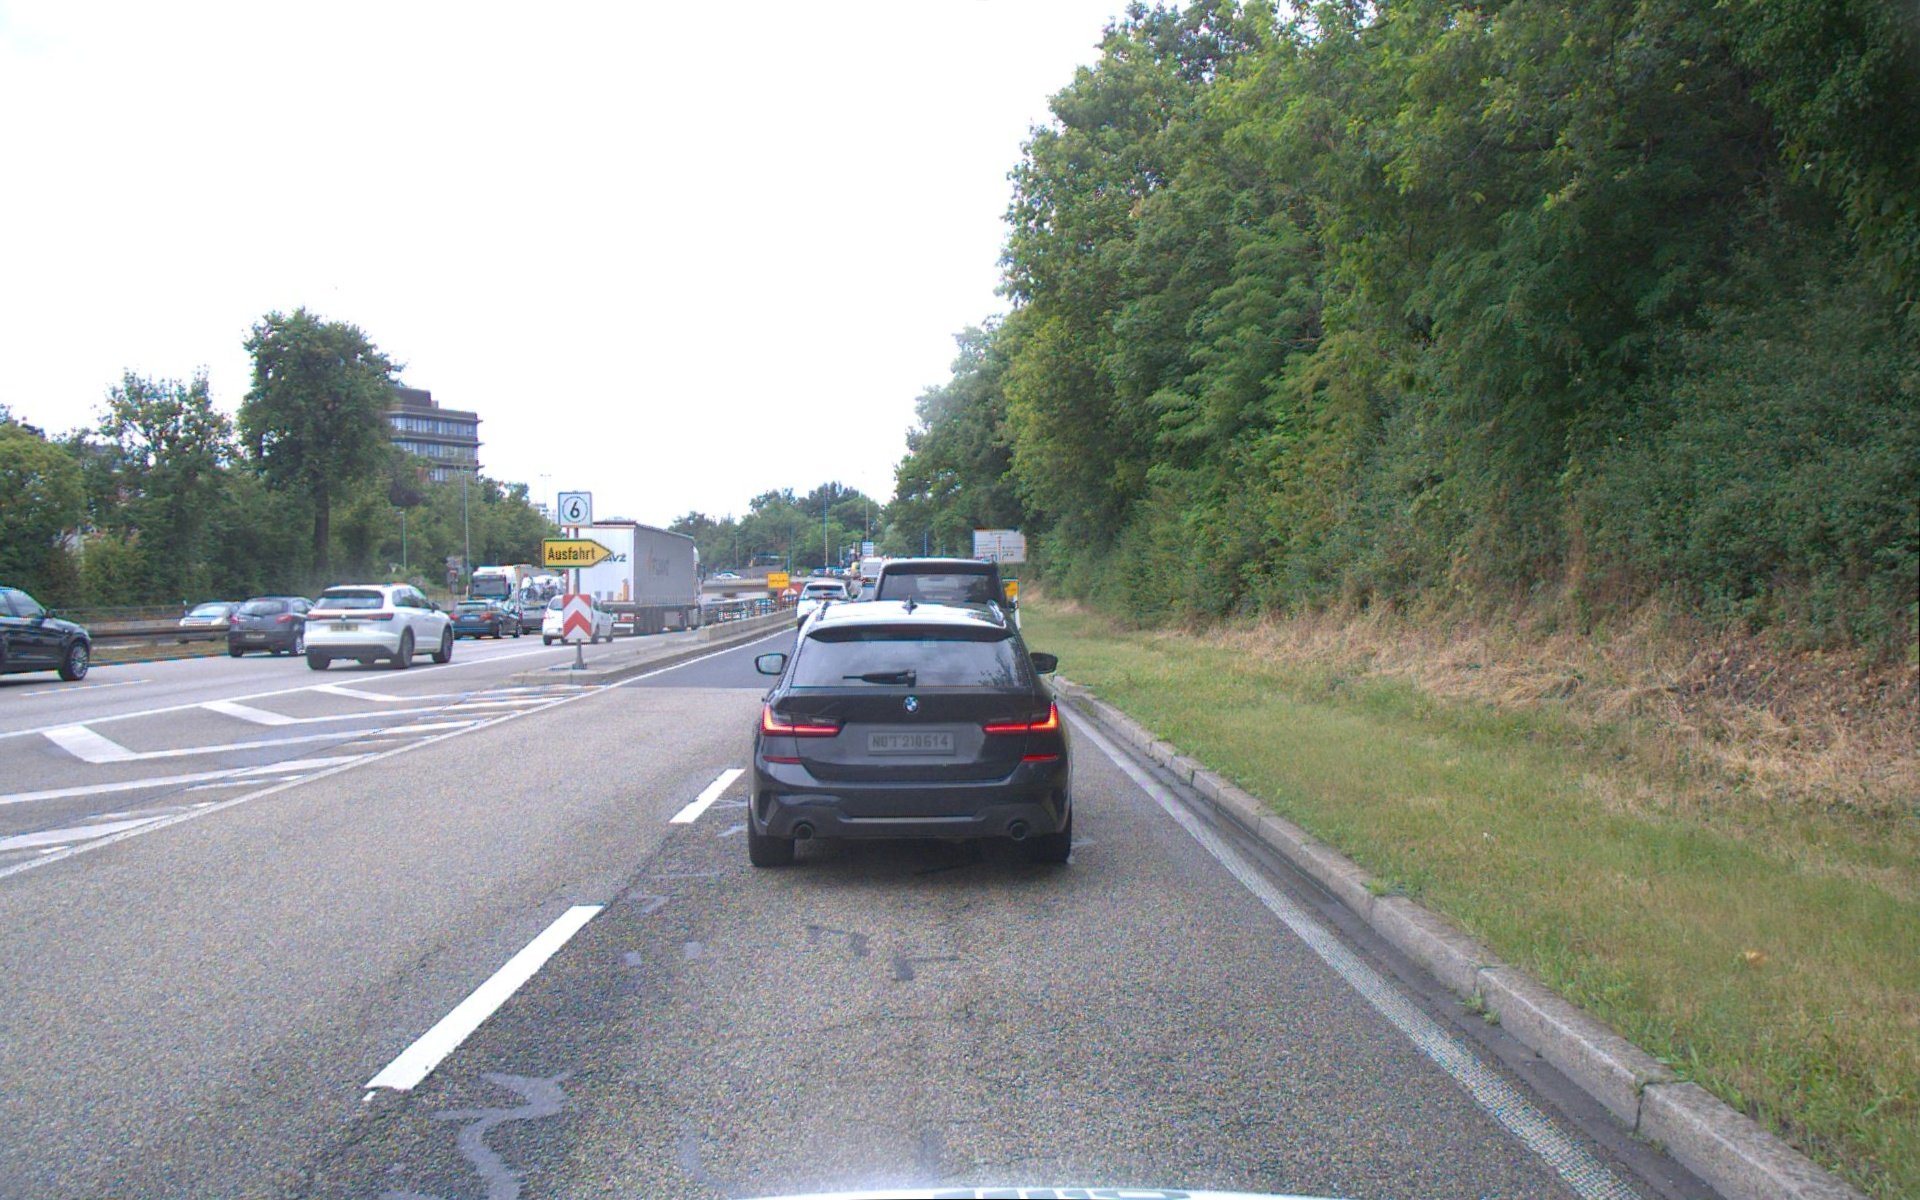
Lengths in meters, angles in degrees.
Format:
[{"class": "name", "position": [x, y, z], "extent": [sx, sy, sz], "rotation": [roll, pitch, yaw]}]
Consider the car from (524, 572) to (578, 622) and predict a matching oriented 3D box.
[{"class": "car", "position": [-17.726, -0.151, 71.813], "extent": [1.414, 2.080, 3.680], "rotation": [-1, 0, 0]}]

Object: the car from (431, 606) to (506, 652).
[{"class": "car", "position": [-15.331, 0.883, 51.697], "extent": [1.357, 1.329, 3.350], "rotation": [-1, 0, -1]}]

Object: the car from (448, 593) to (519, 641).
[{"class": "car", "position": [-17.504, 0.594, 60.880], "extent": [1.654, 1.660, 3.733], "rotation": [1, 0, -2]}]

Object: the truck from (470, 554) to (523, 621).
[{"class": "truck", "position": [-29.214, -0.808, 104.344], "extent": [2.358, 4.090, 3.998], "rotation": [-1, 0, -3]}]

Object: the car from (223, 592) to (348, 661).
[{"class": "car", "position": [-17.119, 0.631, 42.150], "extent": [1.653, 1.636, 4.006], "rotation": [1, 0, -2]}]

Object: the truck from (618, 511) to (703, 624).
[{"class": "truck", "position": [-13.120, -1.387, 72.709], "extent": [3.021, 4.780, 4.231], "rotation": [0, 0, -1]}]

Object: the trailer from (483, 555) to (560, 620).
[{"class": "trailer", "position": [-29.630, -0.862, 112.364], "extent": [2.350, 4.099, 13.070], "rotation": [-1, 0, -3]}]

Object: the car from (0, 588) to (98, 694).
[{"class": "car", "position": [-16.436, 0.666, 27.715], "extent": [1.852, 1.711, 4.304], "rotation": [-1, 0, -2]}]

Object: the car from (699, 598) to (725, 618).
[{"class": "car", "position": [-18.766, 0.616, 125.224], "extent": [1.561, 1.457, 3.061], "rotation": [-1, 0, 0]}]

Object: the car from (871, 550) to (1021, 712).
[{"class": "car", "position": [-0.196, 0.352, 21.563], "extent": [1.759, 1.904, 3.999], "rotation": [0, 0, -1]}]

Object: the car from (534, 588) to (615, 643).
[{"class": "car", "position": [-11.669, 0.430, 50.233], "extent": [1.733, 1.576, 3.491], "rotation": [-1, 0, -2]}]

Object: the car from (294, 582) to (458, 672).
[{"class": "car", "position": [-12.078, 0.512, 34.518], "extent": [1.907, 1.721, 4.506], "rotation": [-1, 0, -2]}]

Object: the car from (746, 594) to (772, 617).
[{"class": "car", "position": [-13.882, 0.352, 114.465], "extent": [1.418, 1.516, 3.061], "rotation": [-1, 0, 0]}]

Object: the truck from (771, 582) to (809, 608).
[{"class": "truck", "position": [-17.435, -0.549, 169.898], "extent": [3.208, 2.553, 7.658], "rotation": [-1, 0, -2]}]

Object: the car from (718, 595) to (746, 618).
[{"class": "car", "position": [-14.270, 0.397, 103.693], "extent": [1.349, 1.422, 3.061], "rotation": [-1, 0, 0]}]

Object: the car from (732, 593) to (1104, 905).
[{"class": "car", "position": [-0.290, 0.714, 10.070], "extent": [1.809, 1.492, 3.998], "rotation": [0, 0, -3]}]

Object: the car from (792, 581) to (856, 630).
[{"class": "car", "position": [-4.713, 0.162, 57.610], "extent": [1.891, 1.624, 3.877], "rotation": [-1, 0, 0]}]

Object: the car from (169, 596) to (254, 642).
[{"class": "car", "position": [-28.518, 0.713, 63.091], "extent": [1.654, 1.660, 3.733], "rotation": [1, 0, -2]}]

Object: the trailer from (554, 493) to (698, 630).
[{"class": "trailer", "position": [-12.970, -1.389, 65.857], "extent": [3.069, 4.807, 14.554], "rotation": [0, 0, -1]}]
